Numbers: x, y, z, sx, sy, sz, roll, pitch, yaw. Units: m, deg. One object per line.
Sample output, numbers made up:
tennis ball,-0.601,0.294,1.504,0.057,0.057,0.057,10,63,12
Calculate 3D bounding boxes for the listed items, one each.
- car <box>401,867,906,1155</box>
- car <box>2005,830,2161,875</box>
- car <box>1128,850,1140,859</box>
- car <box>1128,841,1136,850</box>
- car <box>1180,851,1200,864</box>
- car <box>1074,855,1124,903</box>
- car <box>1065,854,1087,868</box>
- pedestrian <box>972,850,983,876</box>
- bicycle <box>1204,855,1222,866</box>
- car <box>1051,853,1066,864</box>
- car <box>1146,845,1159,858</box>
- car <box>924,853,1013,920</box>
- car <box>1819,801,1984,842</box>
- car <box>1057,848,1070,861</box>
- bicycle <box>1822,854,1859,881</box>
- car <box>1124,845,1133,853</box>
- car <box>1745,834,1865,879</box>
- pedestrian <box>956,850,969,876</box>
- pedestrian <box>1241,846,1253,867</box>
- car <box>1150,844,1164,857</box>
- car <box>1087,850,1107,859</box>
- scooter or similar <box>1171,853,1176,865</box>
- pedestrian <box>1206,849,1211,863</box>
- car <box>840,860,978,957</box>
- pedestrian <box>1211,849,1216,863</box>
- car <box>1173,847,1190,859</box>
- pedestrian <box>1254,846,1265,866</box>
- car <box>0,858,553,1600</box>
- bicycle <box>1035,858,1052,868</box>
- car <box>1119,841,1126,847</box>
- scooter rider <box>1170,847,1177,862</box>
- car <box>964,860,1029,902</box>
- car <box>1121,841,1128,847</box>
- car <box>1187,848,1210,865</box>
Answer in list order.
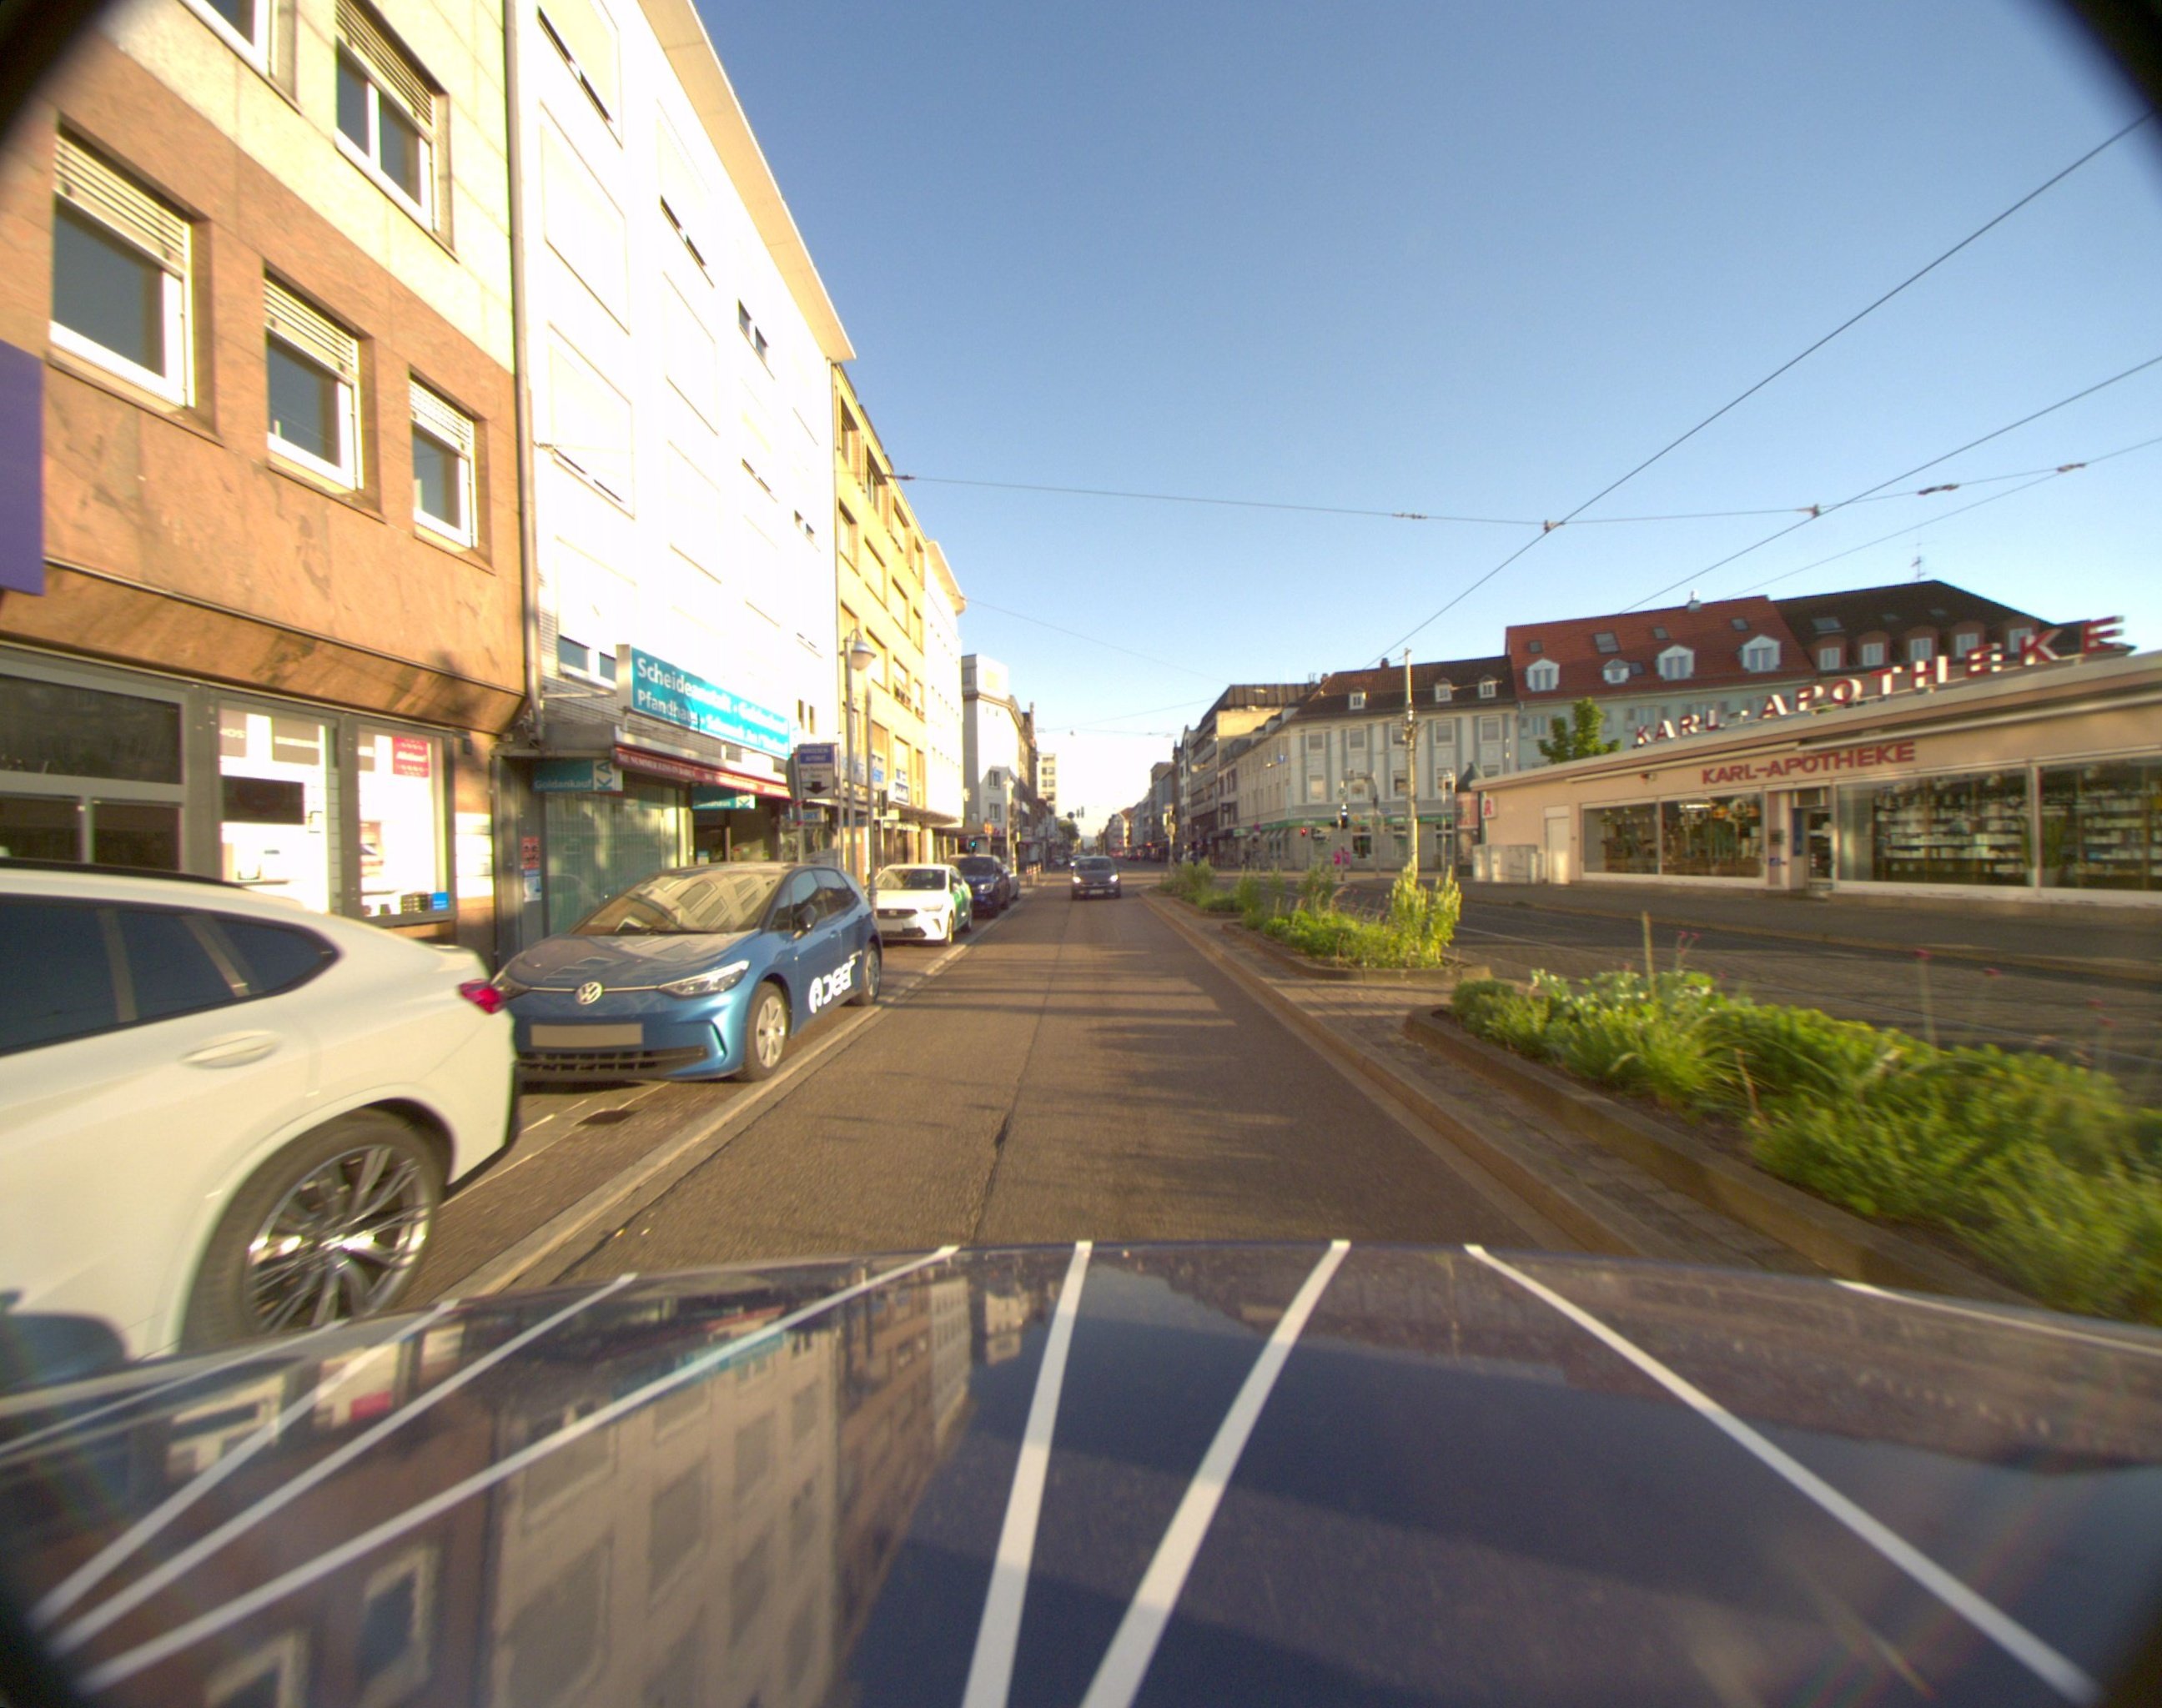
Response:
car,-3.066,0.967,6.885,1.814,1.543,4.835,-1,0,0
car,35.306,-0.092,26.130,1.660,1.401,4.247,-1,2,-6
car,10.102,0.143,144.903,1.895,1.471,4.544,1,-1,1
car,13.969,-2.337,208.283,1.975,2.181,4.132,-1,2,0
car,13.234,0.412,92.431,1.701,1.614,4.000,-2,0,0
car,0.578,0.806,26.092,1.587,1.445,3.842,-1,1,0
car,-0.487,0.746,79.048,1.914,1.350,3.747,-2,0,4
pedestrian,-7.144,0.594,52.399,0.749,1.763,0.586,-1,1,-7
bicycle,12.800,0.612,73.699,1.740,1.052,0.499,-1,-1,9
car,-3.169,0.669,108.727,2.041,1.550,4.386,-1,0,0
car,12.571,-0.447,133.477,1.998,2.048,3.999,-1,2,1
car,-2.941,0.799,20.752,1.769,1.596,4.287,-1,0,0
car,34.280,-1.340,31.977,1.803,1.556,4.678,-1,2,-1
car,-2.852,0.063,125.698,2.041,2.105,4.386,-1,0,0
bicycle,29.563,0.517,29.614,0.558,0.976,2.088,1,1,32
car,13.470,-1.457,215.653,1.960,2.002,3.998,-1,2,-2
car,35.020,0.056,36.926,1.998,2.002,3.998,-1,2,1
pedestrian,-8.205,0.615,52.584,0.749,1.763,0.639,-2,1,4
pedestrian,14.252,0.201,65.254,0.826,1.718,0.814,-2,1,17
car,12.680,-0.586,126.731,1.998,2.002,3.998,-1,2,1
car,3.447,0.008,163.069,3.842,1.739,1.802,-2,3,-27
scooter or similar,10.819,0.570,88.900,0.545,1.343,1.669,-2,1,4
pedestrian,15.644,0.272,93.280,0.509,1.675,0.583,-2,2,-1
car,-3.128,0.927,14.653,1.735,1.427,4.150,-1,2,-1
pedestrian,16.233,0.234,93.266,0.515,1.725,0.600,-1,3,0
car,13.722,-0.186,104.265,1.819,1.548,3.998,-1,2,1
pedestrian,15.080,0.180,64.253,0.826,1.631,0.814,-2,0,17
car,-3.272,0.842,0.922,1.821,1.576,4.723,-1,0,2
bicycle,-4.063,1.005,82.619,1.829,1.025,0.443,0,0,-6
car,13.814,-3.411,255.100,1.999,2.002,3.998,-1,2,-2
scooter rider,10.819,0.047,88.856,0.813,1.797,0.788,-1,1,4
car,-2.956,0.923,27.331,1.677,1.275,4.064,-1,1,3
car,14.341,-3.331,249.251,1.999,2.002,3.998,-1,2,-2
car,13.276,0.264,86.327,1.915,1.785,4.128,-3,1,0
